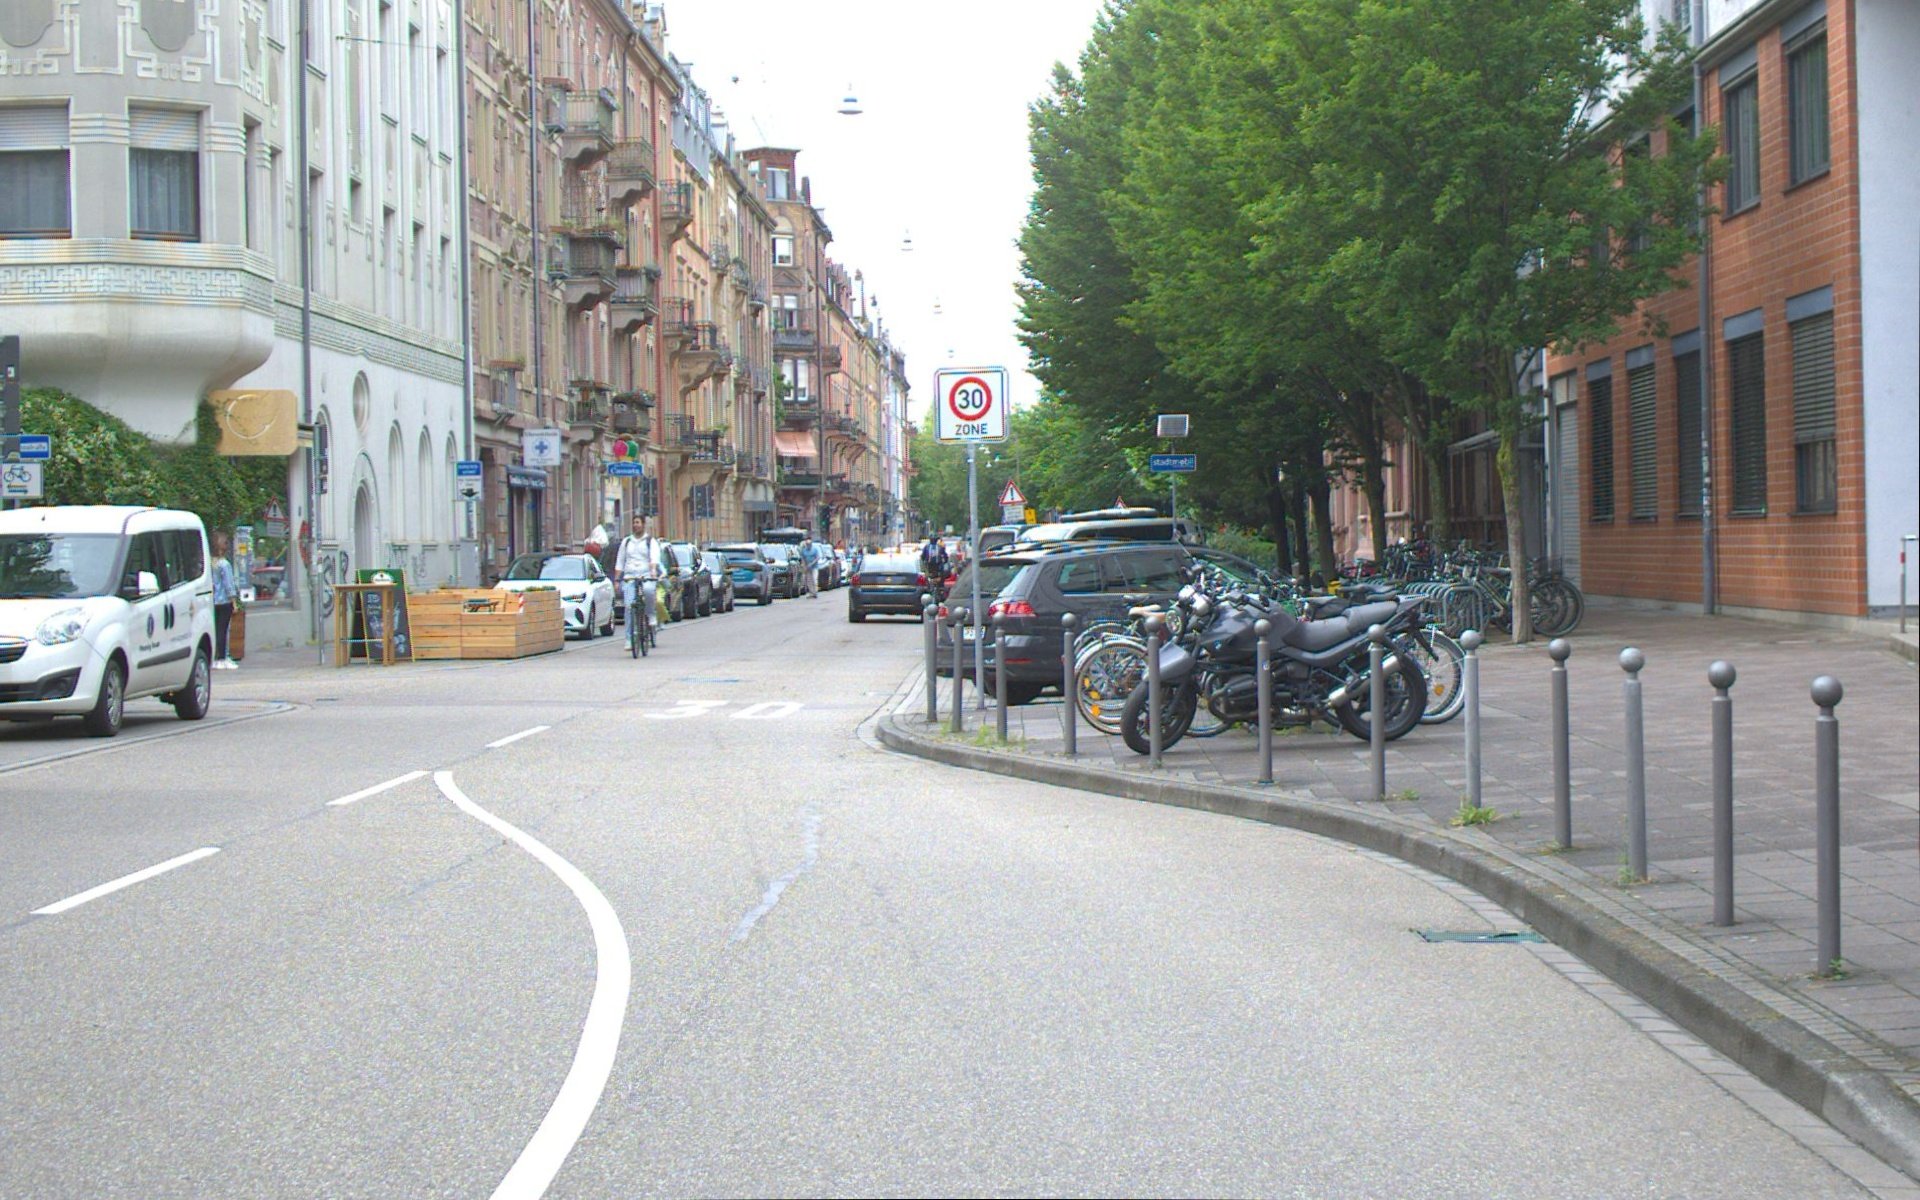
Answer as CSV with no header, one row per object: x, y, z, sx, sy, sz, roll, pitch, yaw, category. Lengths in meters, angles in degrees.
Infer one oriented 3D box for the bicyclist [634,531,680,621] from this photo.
-4.737,-0.366,53.757,0.668,1.394,0.783,-1,0,-2,bicyclist

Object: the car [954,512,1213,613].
2.696,-0.824,74.232,5.387,1.985,1.950,-2,1,-33,car

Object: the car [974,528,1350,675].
2.421,0.014,41.036,4.047,1.579,1.903,-2,0,-30,car

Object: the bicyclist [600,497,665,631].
-4.601,-0.506,48.314,0.782,1.860,0.714,-1,1,3,bicyclist

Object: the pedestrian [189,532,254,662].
-9.490,-0.039,44.181,0.579,1.655,0.575,-1,0,22,pedestrian

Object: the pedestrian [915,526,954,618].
-0.594,-0.654,81.118,0.891,2.138,1.028,-1,0,0,pedestrian

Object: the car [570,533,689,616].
-6.622,-0.522,69.244,1.944,1.611,3.942,0,1,1,car

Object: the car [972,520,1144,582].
3.265,-1.628,114.136,5.386,1.861,1.950,-2,1,-28,car

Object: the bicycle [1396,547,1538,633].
6.552,-0.123,44.466,1.752,1.088,0.565,-1,0,1,bicycle

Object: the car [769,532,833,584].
-5.551,-1.479,120.396,1.944,1.732,3.943,-1,1,1,car

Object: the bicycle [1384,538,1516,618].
6.832,-0.307,47.970,1.752,1.088,0.565,-1,0,1,bicycle

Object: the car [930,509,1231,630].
2.352,-0.596,66.148,5.607,2.120,1.950,-2,1,-33,car

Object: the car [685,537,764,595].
-6.657,-0.964,97.617,1.944,1.611,3.943,0,1,0,car

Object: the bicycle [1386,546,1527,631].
6.505,-0.145,45.073,1.752,1.088,0.565,-1,0,1,bicycle

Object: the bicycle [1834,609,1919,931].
3.955,0.574,11.746,0.728,1.100,1.736,-3,1,-40,bicycle

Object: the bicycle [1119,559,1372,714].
2.234,0.281,27.028,1.883,1.137,0.612,-2,0,-2,bicycle

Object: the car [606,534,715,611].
-6.474,-0.604,74.715,1.944,1.611,3.942,0,1,1,car

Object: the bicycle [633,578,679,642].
-4.740,0.152,53.715,0.535,0.974,1.865,-1,0,0,bicycle

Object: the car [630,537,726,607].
-6.669,-0.664,81.554,1.944,1.611,3.943,0,1,0,car

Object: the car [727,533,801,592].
-5.838,-1.111,102.794,1.944,1.736,3.942,0,1,1,car

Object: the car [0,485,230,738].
-7.574,0.044,28.535,1.843,1.933,4.548,0,1,3,car

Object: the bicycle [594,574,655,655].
-4.706,0.193,48.310,0.567,1.084,1.986,-1,1,2,bicycle

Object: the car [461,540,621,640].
-6.989,-0.186,57.658,1.944,1.548,3.817,-2,1,4,car

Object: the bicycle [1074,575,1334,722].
1.847,0.365,26.190,1.883,1.040,0.612,-2,0,-2,bicycle

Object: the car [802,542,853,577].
-5.218,-1.586,135.327,1.993,1.317,4.000,-1,0,-2,car

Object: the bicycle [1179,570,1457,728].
2.617,0.358,25.266,1.929,1.073,0.612,-2,0,-2,bicycle

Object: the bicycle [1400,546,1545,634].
6.506,-0.126,43.683,1.752,1.088,0.565,-1,0,1,bicycle

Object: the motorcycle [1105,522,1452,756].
2.066,0.252,22.520,2.134,1.425,0.771,-2,0,-2,motorcycle

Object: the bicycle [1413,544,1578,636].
6.445,-0.116,41.450,1.895,1.088,0.543,-1,0,1,bicycle

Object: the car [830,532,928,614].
-1.687,-0.549,73.016,1.993,1.675,4.000,-1,0,0,car

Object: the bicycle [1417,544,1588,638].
6.441,-0.102,40.844,1.933,1.088,0.577,-1,0,1,bicycle

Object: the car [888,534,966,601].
-0.850,-0.839,90.096,1.993,1.675,4.000,-1,0,0,car

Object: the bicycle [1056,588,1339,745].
1.683,0.468,24.552,1.929,1.040,0.612,-2,0,-2,bicycle

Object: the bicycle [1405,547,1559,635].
6.530,-0.111,43.053,1.836,1.088,0.565,-1,0,1,bicycle

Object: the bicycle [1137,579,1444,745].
2.273,0.426,23.754,2.009,1.059,0.612,-2,0,-2,bicycle

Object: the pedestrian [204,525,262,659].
-9.502,-0.106,44.915,0.578,1.729,0.505,0,0,-35,pedestrian

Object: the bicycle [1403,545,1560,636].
6.400,-0.112,42.261,1.836,1.088,0.543,-1,0,1,bicycle

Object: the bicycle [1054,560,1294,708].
1.752,0.276,28.272,1.883,1.137,0.612,-2,0,-2,bicycle

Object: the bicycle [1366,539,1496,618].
6.685,-0.303,48.830,1.752,1.088,0.565,-1,0,1,bicycle

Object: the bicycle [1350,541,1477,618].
6.547,-0.298,49.706,1.752,1.088,0.565,-1,0,1,bicycle

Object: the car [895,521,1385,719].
1.733,0.162,32.594,4.274,1.573,1.863,-4,1,-32,car
